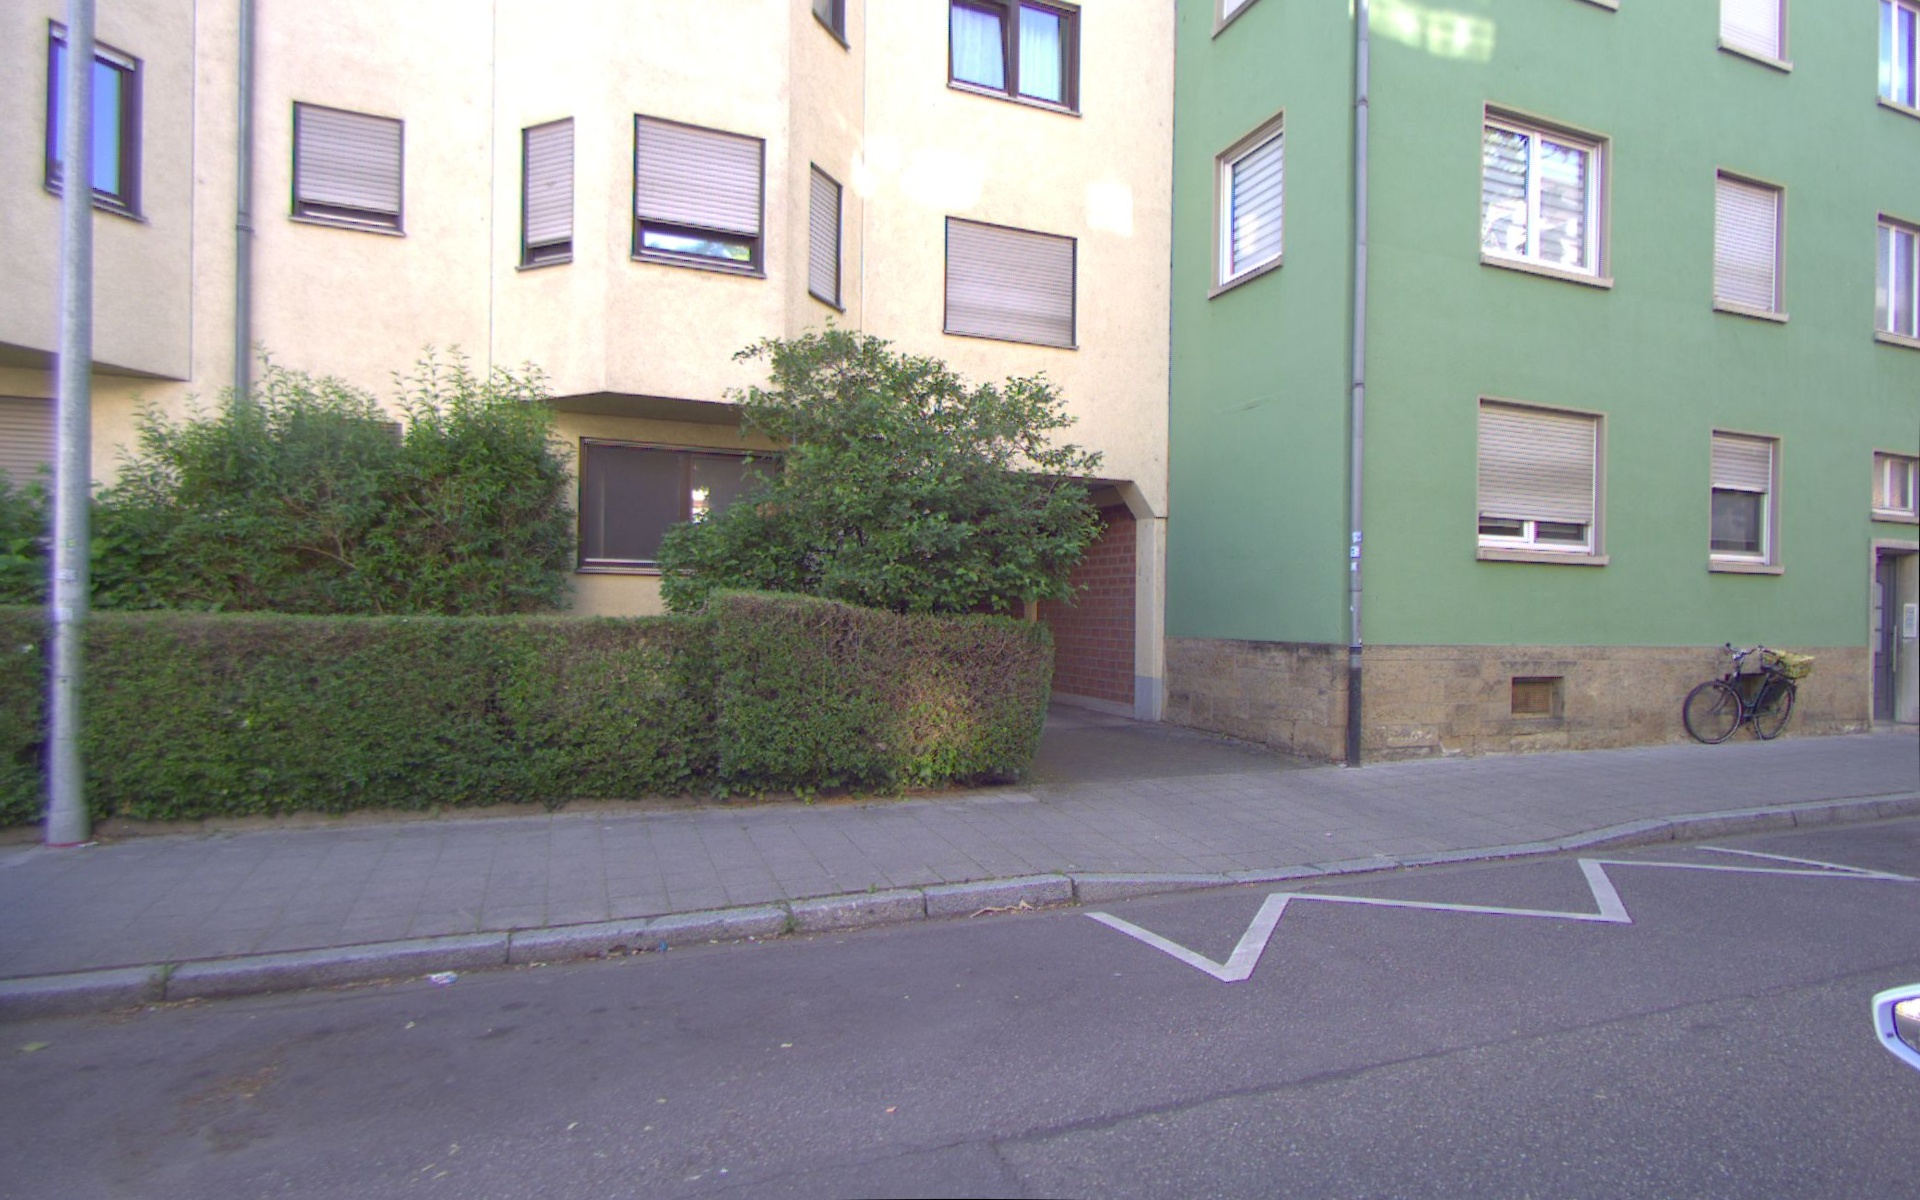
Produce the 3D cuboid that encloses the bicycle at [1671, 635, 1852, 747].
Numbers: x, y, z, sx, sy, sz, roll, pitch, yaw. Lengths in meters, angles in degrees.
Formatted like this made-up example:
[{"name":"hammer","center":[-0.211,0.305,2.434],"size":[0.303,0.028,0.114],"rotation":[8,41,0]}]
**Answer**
[{"name":"bicycle","center":[9.337,1.030,11.686],"size":[2.245,1.194,0.549],"rotation":[1,3,-22]}]
